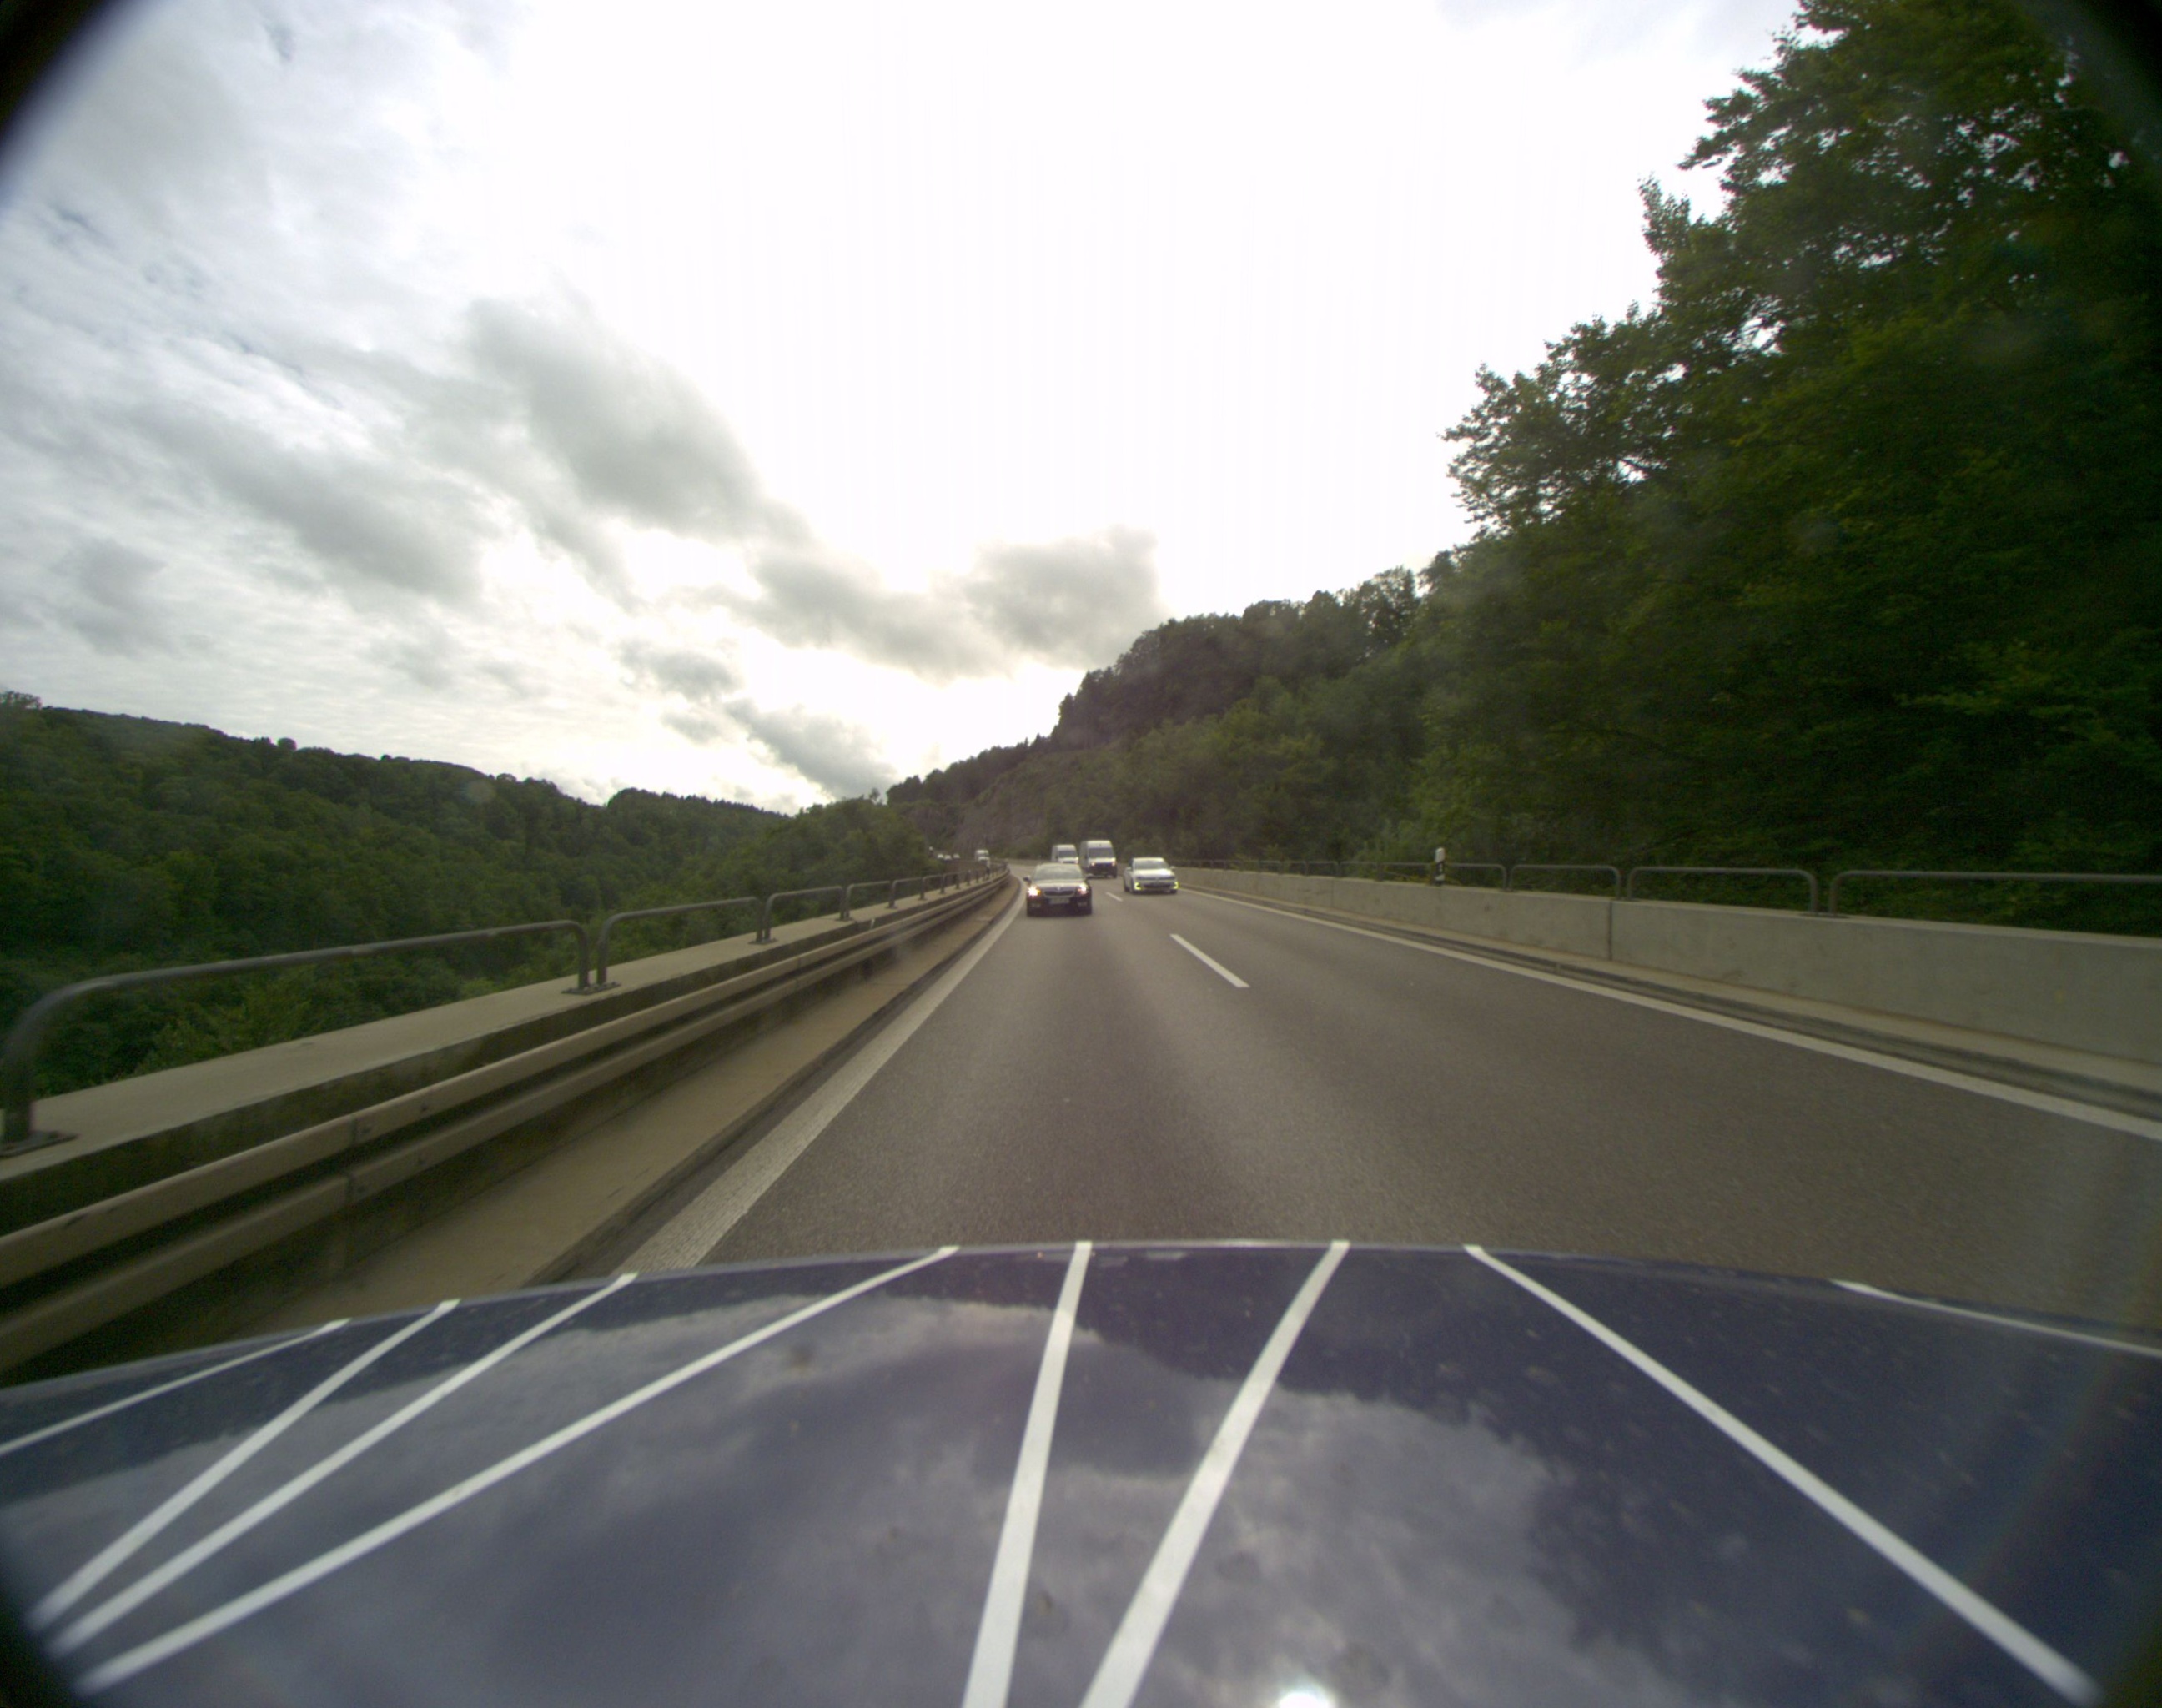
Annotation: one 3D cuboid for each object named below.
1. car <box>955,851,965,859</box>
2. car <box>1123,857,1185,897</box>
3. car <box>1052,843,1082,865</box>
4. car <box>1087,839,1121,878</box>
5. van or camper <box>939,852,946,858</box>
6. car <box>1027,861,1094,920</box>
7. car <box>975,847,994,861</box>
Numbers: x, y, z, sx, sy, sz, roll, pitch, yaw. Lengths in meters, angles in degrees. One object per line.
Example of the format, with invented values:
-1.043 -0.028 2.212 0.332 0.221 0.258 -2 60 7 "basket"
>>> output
-32.675 0.315 205.416 2.001 2.002 3.994 -2 0 -18 "car"
2.927 0.894 31.332 1.923 1.452 4.229 -2 0 -2 "car"
-1.400 -0.020 73.770 2.231 2.061 5.620 -2 1 -8 "car"
1.549 0.221 52.769 1.869 2.444 4.980 -1 2 -4 "car"
-45.406 0.351 249.343 2.001 2.002 3.995 -2 0 -13 "van or camper"
-0.563 0.962 21.817 1.677 1.419 4.472 -2 0 -1 "car"
-16.824 0.023 132.651 2.677 2.409 6.114 -2 1 -13 "car"
